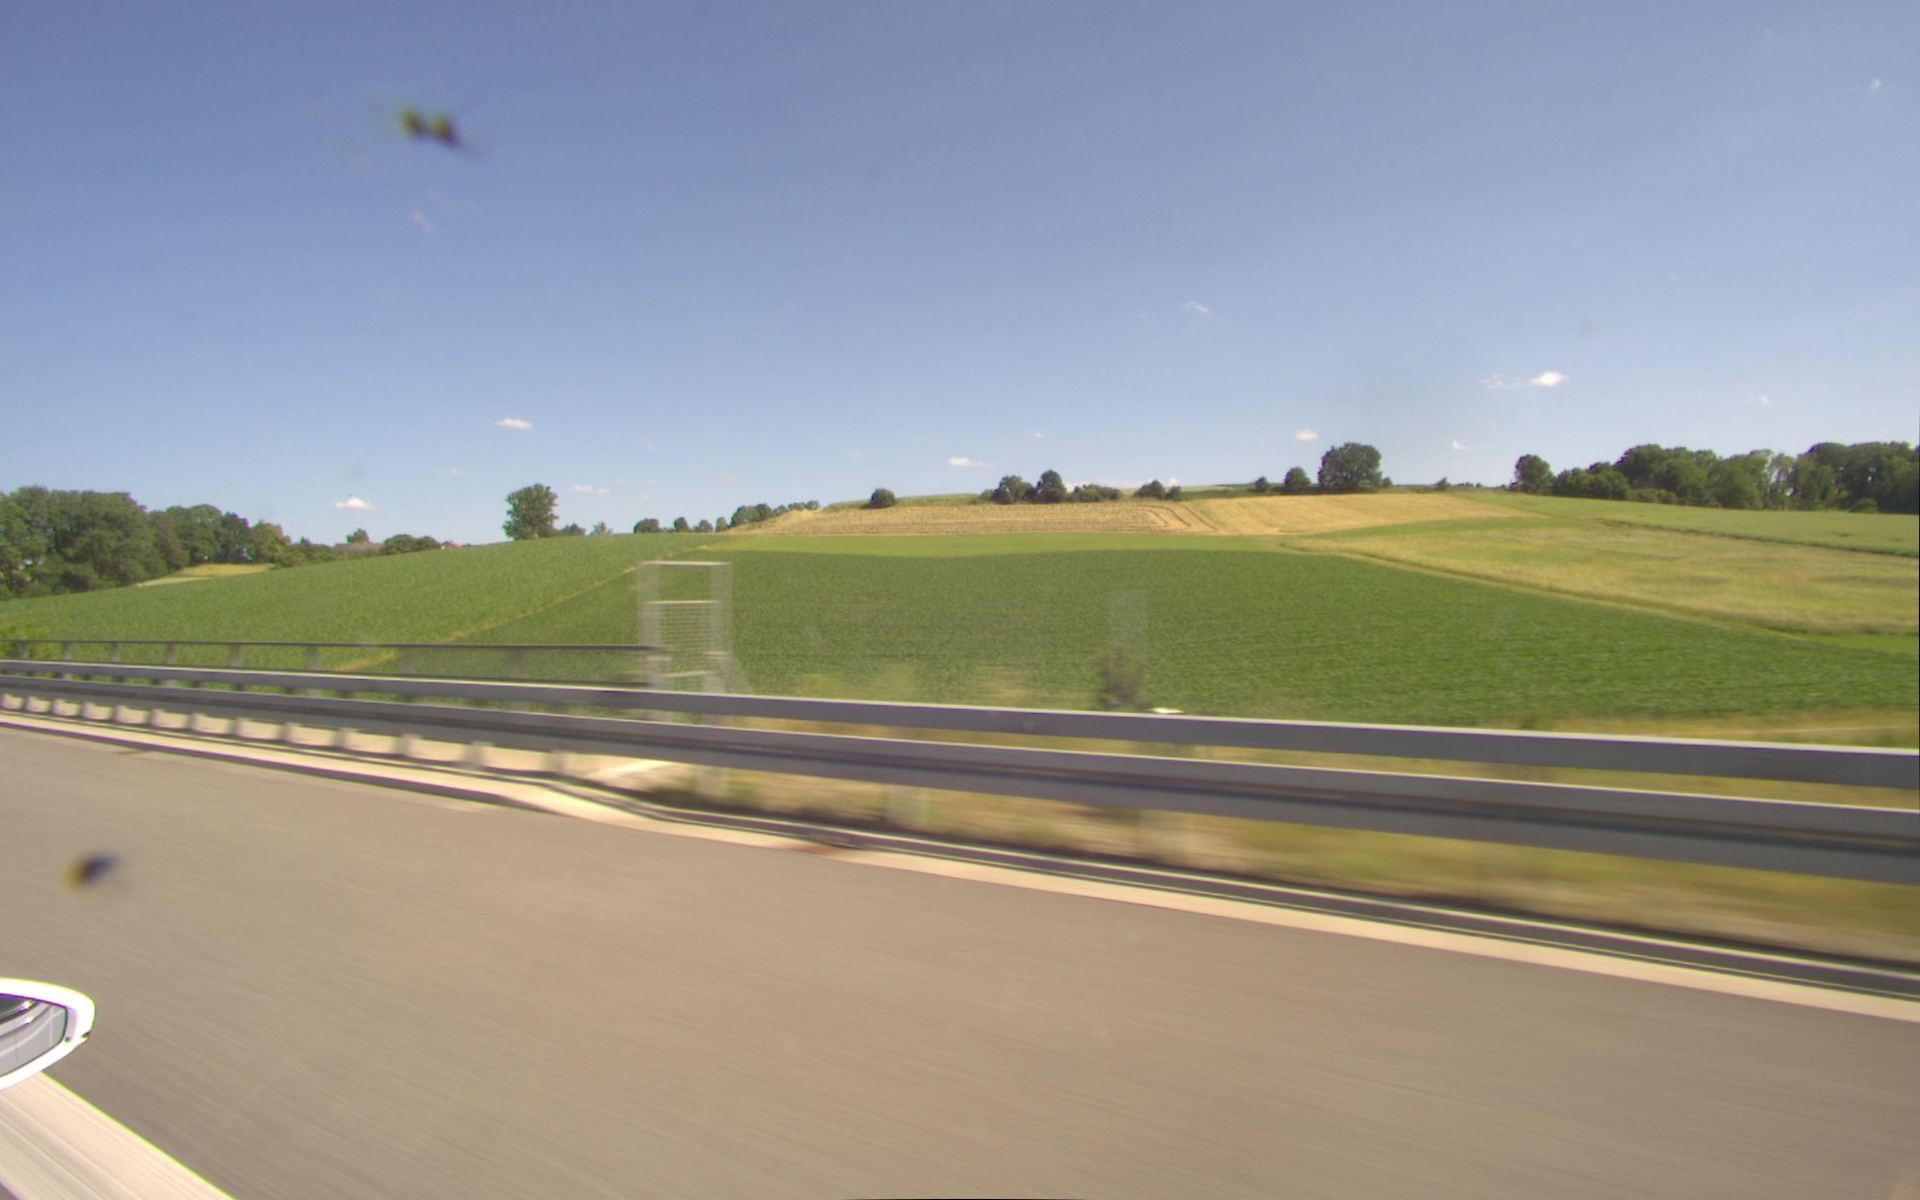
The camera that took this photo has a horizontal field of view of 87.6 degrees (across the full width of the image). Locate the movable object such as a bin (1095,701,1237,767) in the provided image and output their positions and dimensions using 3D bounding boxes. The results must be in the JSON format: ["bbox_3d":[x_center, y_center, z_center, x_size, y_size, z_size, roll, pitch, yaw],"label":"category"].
[{"bbox_3d":[10.240,6.596,50.035,6.124,2.805,3.282,0,-3,-18],"label":"movable object such as a bin"}]
